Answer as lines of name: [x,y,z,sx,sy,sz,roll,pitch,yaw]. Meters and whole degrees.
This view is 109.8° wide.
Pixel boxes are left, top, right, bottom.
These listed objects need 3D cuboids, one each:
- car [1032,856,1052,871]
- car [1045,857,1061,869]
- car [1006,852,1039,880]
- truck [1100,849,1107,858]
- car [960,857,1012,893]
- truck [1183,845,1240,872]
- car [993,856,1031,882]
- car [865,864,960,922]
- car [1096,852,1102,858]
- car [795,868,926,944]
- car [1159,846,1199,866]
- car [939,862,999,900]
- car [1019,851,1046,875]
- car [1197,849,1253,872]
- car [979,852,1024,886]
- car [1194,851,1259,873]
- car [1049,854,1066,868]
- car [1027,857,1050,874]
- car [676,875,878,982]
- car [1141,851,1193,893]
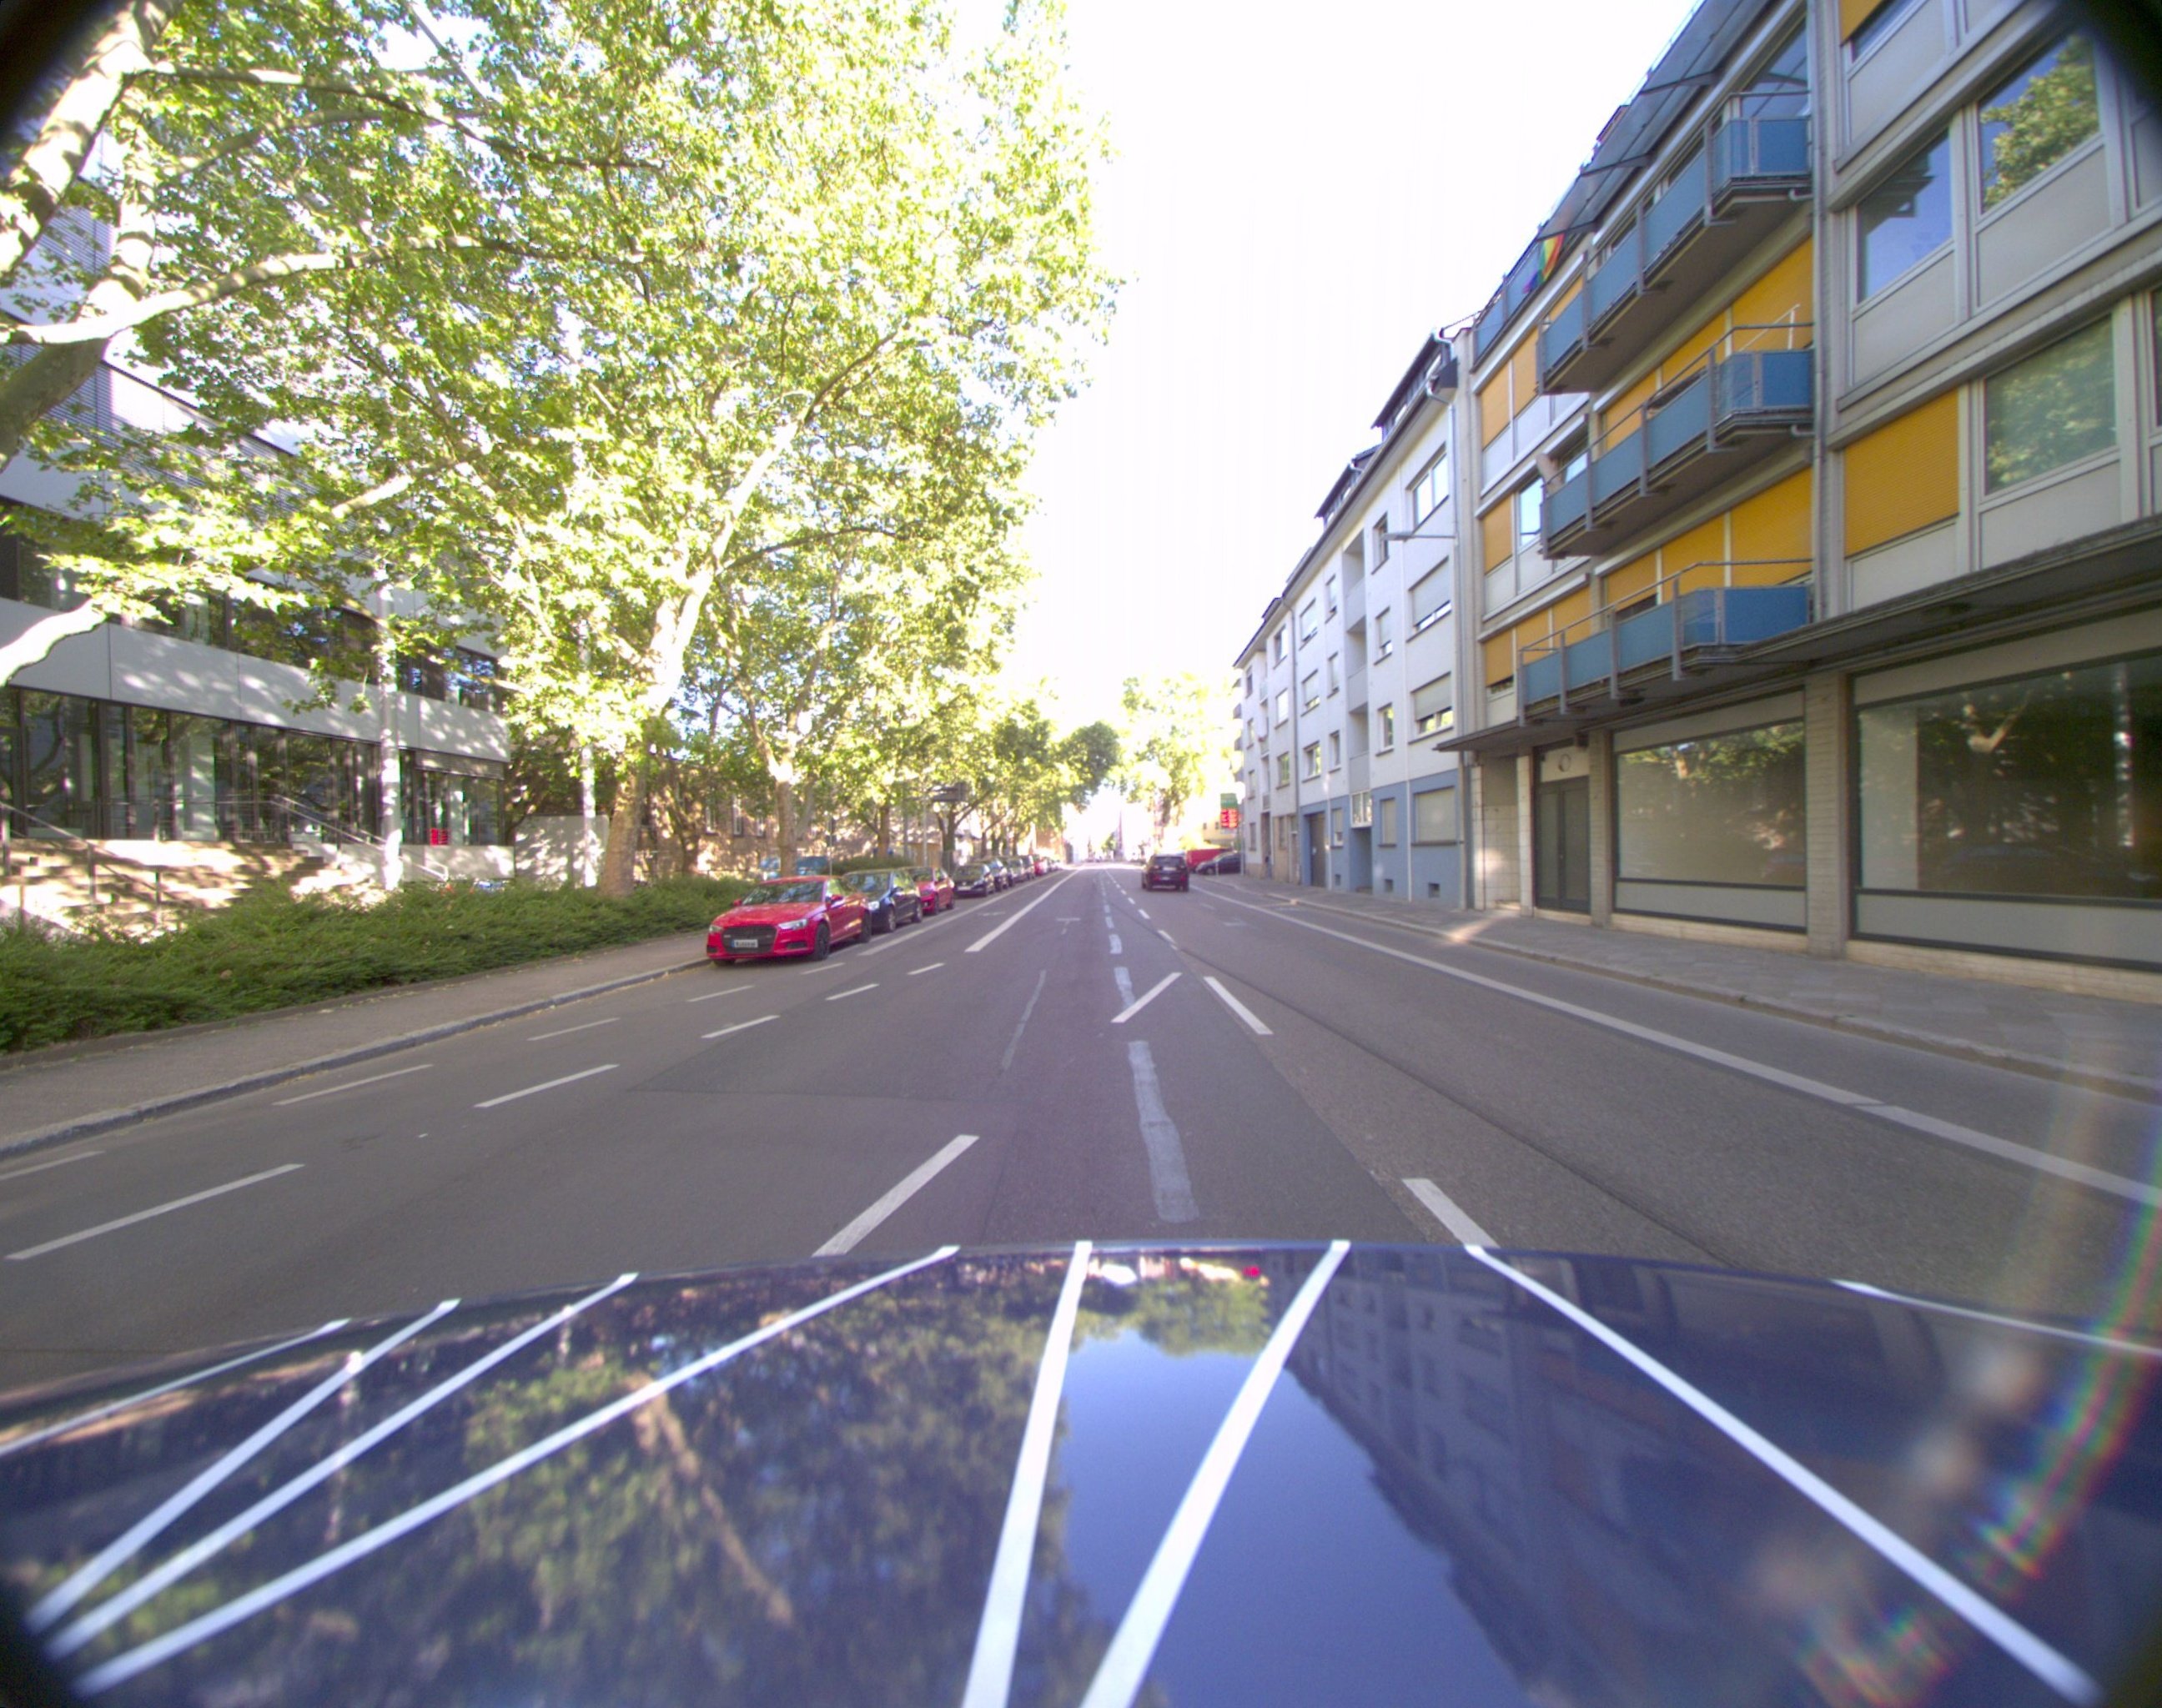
car: [-4.132,0.993,80.743,1.824,1.466,3.999,-2,1,1]
car: [-3.342,1.077,92.732,1.693,1.364,3.999,-2,1,1]
car: [-4.254,0.848,55.643,1.998,1.838,3.999,-2,1,1]
truck: [6.884,-0.279,233.818,1.998,2.653,5.314,-2,1,0]
car: [-4.680,1.008,38.112,1.998,1.592,4.142,-2,1,1]
truck: [10.292,0.325,60.212,4.092,1.913,2.000,-2,1,0]
car: [-4.570,0.979,50.849,1.998,1.557,4.142,-2,1,1]
car: [-5.124,1.150,23.661,1.998,1.490,3.828,-2,1,1]
car: [6.172,0.210,259.449,1.998,2.002,3.999,-2,1,1]
car: [-5.168,1.169,18.364,1.998,1.452,3.644,-2,1,1]
car: [10.955,0.224,85.308,4.236,2.025,2.000,-2,1,3]
car: [-4.833,1.134,33.173,1.998,1.447,3.589,-2,1,1]
car: [-4.220,0.738,66.310,1.998,1.960,3.999,-2,1,1]
car: [10.806,0.455,57.109,3.810,1.563,1.658,-2,1,0]
car: [-4.603,0.842,44.511,1.998,1.777,4.572,-2,1,1]
car: [10.461,0.576,54.777,4.324,1.398,1.658,-2,1,0]
car: [-3.180,0.914,103.003,1.998,1.682,3.999,-2,1,1]
car: [-4.032,1.087,71.991,1.824,1.466,3.999,-2,1,1]
car: [-5.183,1.197,13.632,1.907,1.417,3.999,-2,1,1]
car: [3.717,0.719,33.414,1.847,1.668,3.999,1,1,1]
